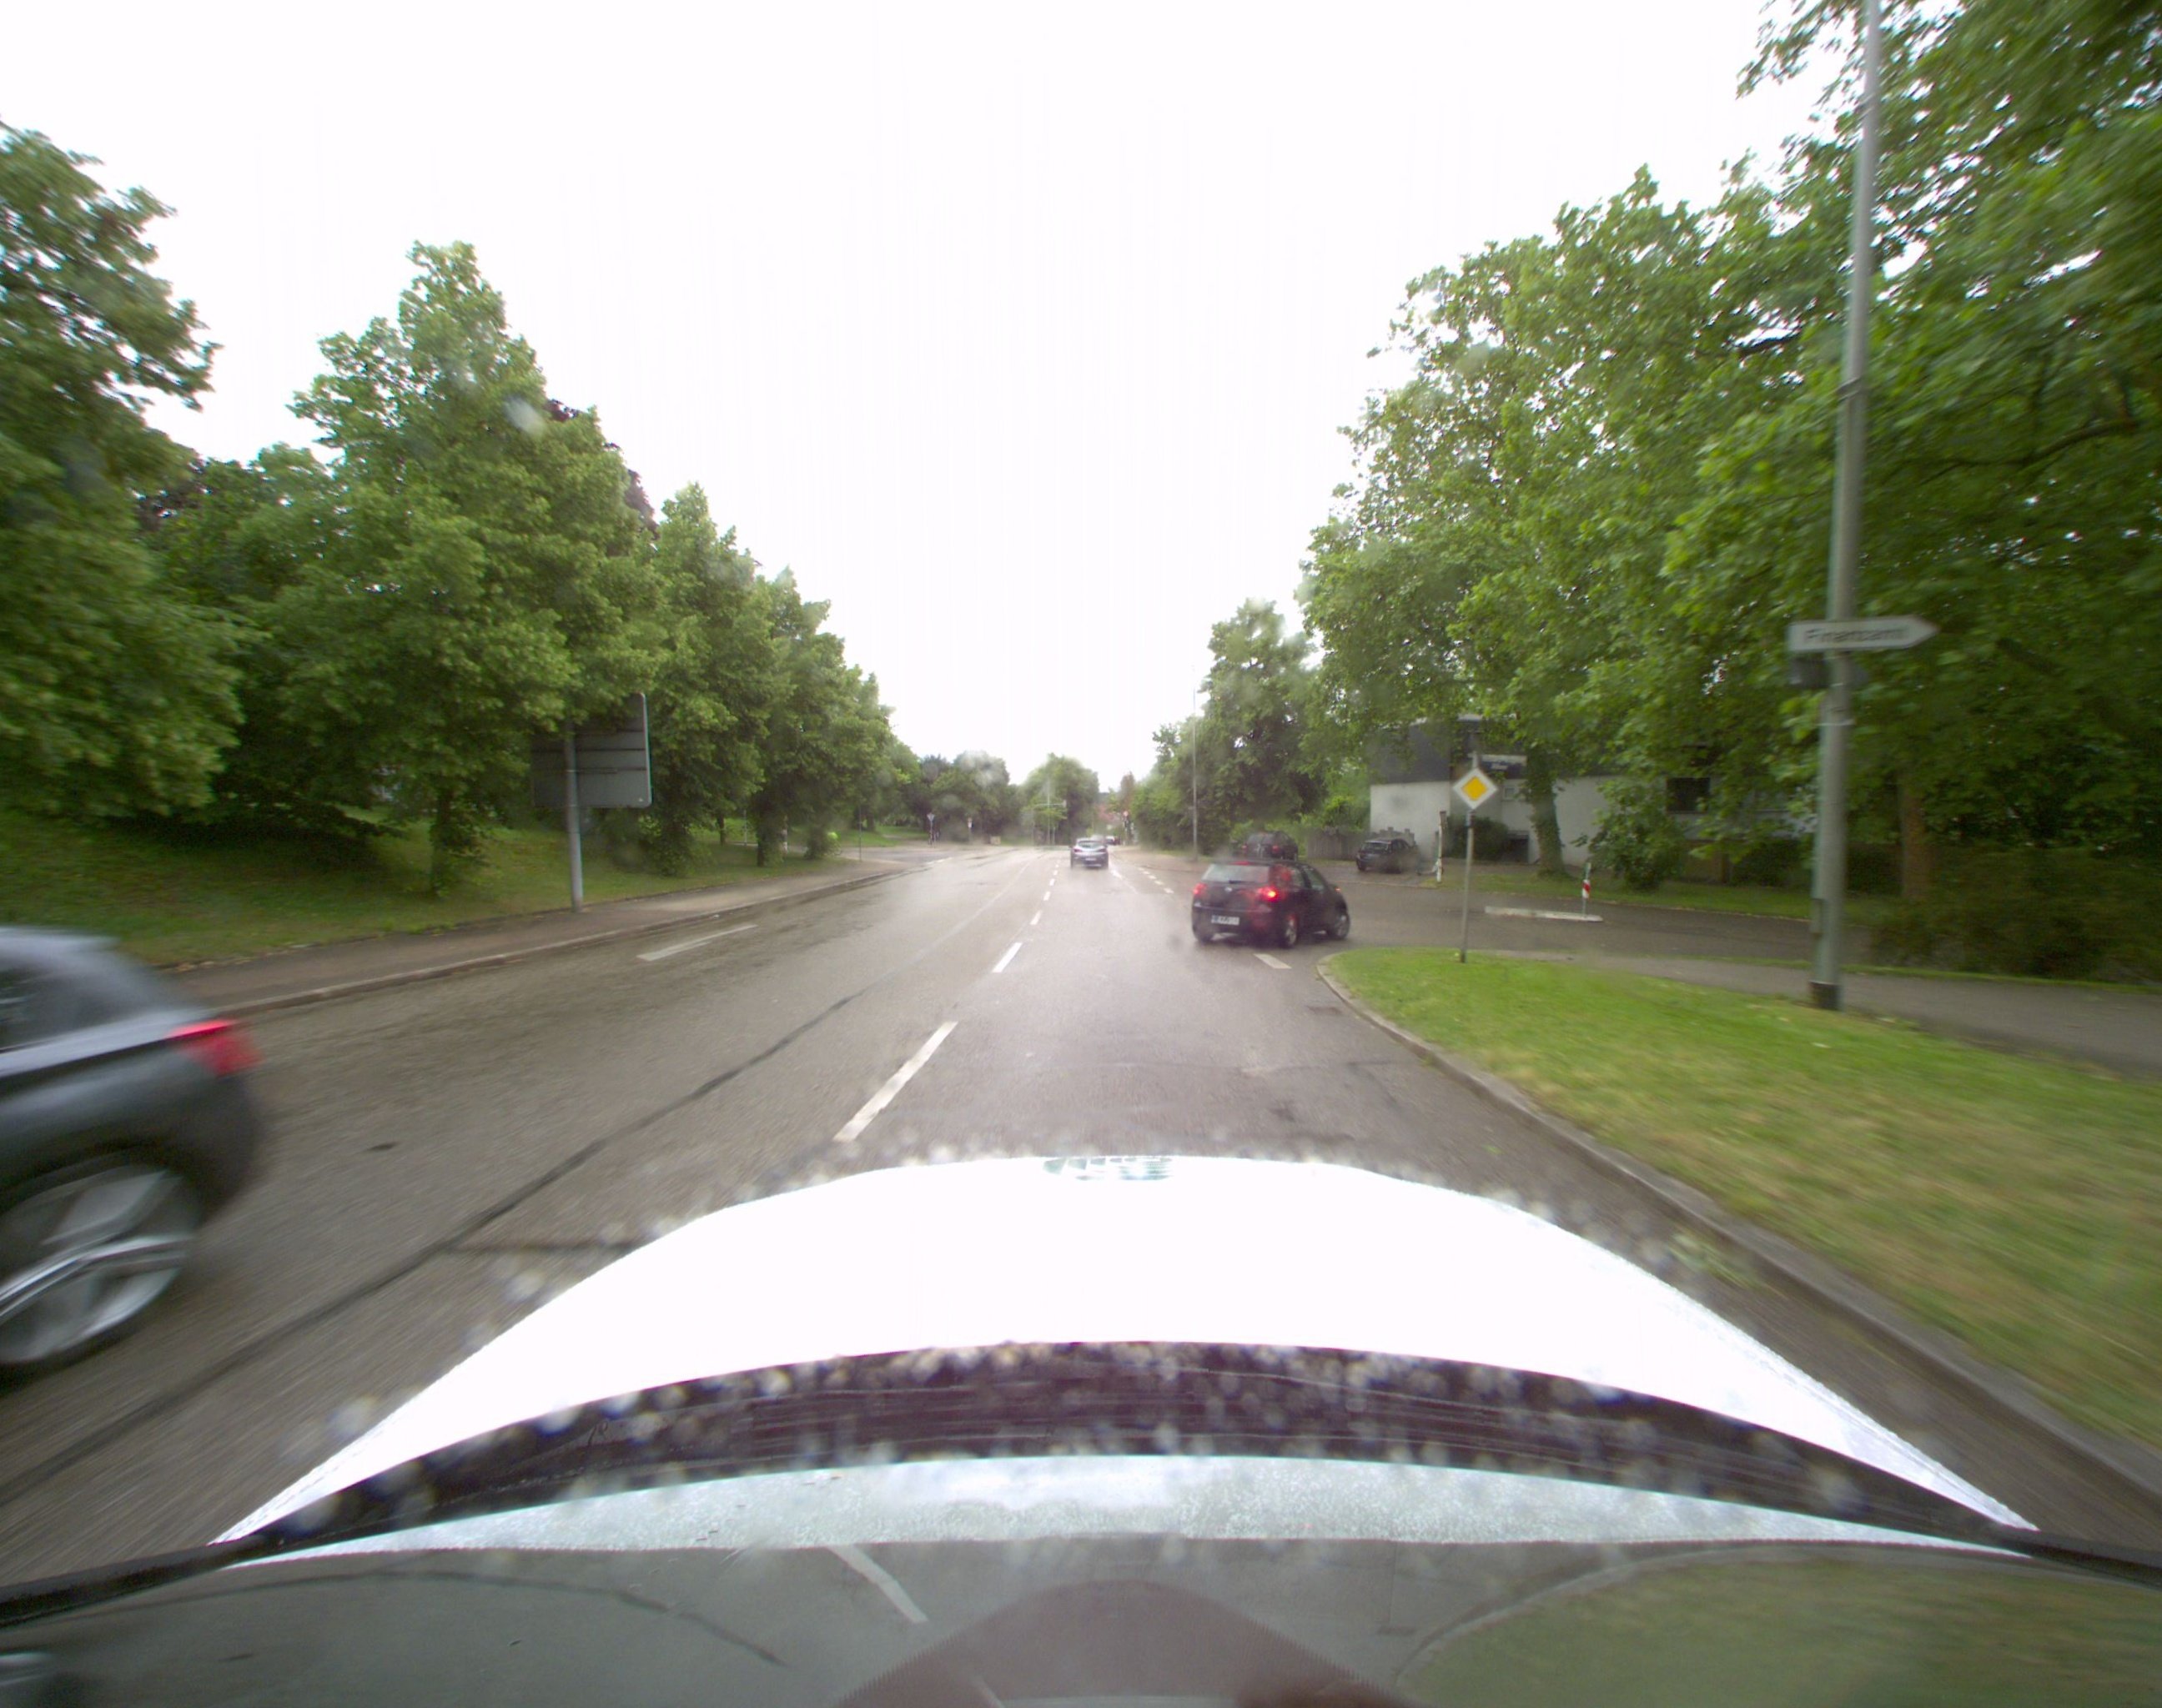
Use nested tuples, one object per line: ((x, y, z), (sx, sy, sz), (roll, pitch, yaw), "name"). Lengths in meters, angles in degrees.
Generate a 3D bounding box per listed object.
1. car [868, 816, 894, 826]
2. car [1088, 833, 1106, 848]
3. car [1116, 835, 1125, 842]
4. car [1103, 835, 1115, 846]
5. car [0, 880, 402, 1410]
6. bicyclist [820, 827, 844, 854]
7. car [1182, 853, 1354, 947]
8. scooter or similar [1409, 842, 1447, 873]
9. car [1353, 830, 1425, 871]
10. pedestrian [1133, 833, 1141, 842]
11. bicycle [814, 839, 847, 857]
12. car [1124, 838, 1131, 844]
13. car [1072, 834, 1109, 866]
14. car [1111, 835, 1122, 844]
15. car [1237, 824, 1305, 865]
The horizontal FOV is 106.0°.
((-31.940, -5.214, 130.249), (3.908, 1.486, 1.923), (0, 1, -19), "car")
((1.721, -1.441, 86.197), (1.714, 1.464, 4.004), (3, 1, 3), "car")
((8.199, -3.196, 167.106), (1.714, 1.464, 4.004), (3, 1, 3), "car")
((4.149, -2.031, 120.460), (1.714, 1.464, 4.004), (3, 1, 3), "car")
((-3.867, 0.890, 1.461), (1.715, 1.383, 4.140), (-2, 1, 1), "car")
((-16.612, -0.899, 54.321), (1.270, 1.755, 0.859), (0, 0, 22), "bicyclist")
((3.534, 0.733, 14.829), (1.705, 1.464, 4.025), (0, -1, 34), "car")
((14.580, 0.134, 34.221), (1.333, 1.285, 0.561), (-1, 1, -6), "scooter or similar")
((13.857, -0.208, 36.516), (1.734, 1.469, 4.596), (4, 6, 38), "car")
((8.237, -2.456, 120.108), (1.067, 1.355, 0.921), (-1, 1, 11), "pedestrian")
((-16.737, -0.398, 54.370), (2.013, 1.155, 0.859), (0, 0, 22), "bicycle")
((11.581, -3.347, 204.670), (1.714, 1.464, 4.004), (3, 1, 3), "car")
((0.442, -0.221, 40.418), (1.749, 1.464, 3.999), (-1, 1, 0), "car")
((6.011, -2.443, 136.866), (1.714, 1.464, 4.004), (3, 1, 3), "car")
((9.248, -0.533, 39.394), (1.929, 1.689, 4.935), (2, 5, 29), "car")
